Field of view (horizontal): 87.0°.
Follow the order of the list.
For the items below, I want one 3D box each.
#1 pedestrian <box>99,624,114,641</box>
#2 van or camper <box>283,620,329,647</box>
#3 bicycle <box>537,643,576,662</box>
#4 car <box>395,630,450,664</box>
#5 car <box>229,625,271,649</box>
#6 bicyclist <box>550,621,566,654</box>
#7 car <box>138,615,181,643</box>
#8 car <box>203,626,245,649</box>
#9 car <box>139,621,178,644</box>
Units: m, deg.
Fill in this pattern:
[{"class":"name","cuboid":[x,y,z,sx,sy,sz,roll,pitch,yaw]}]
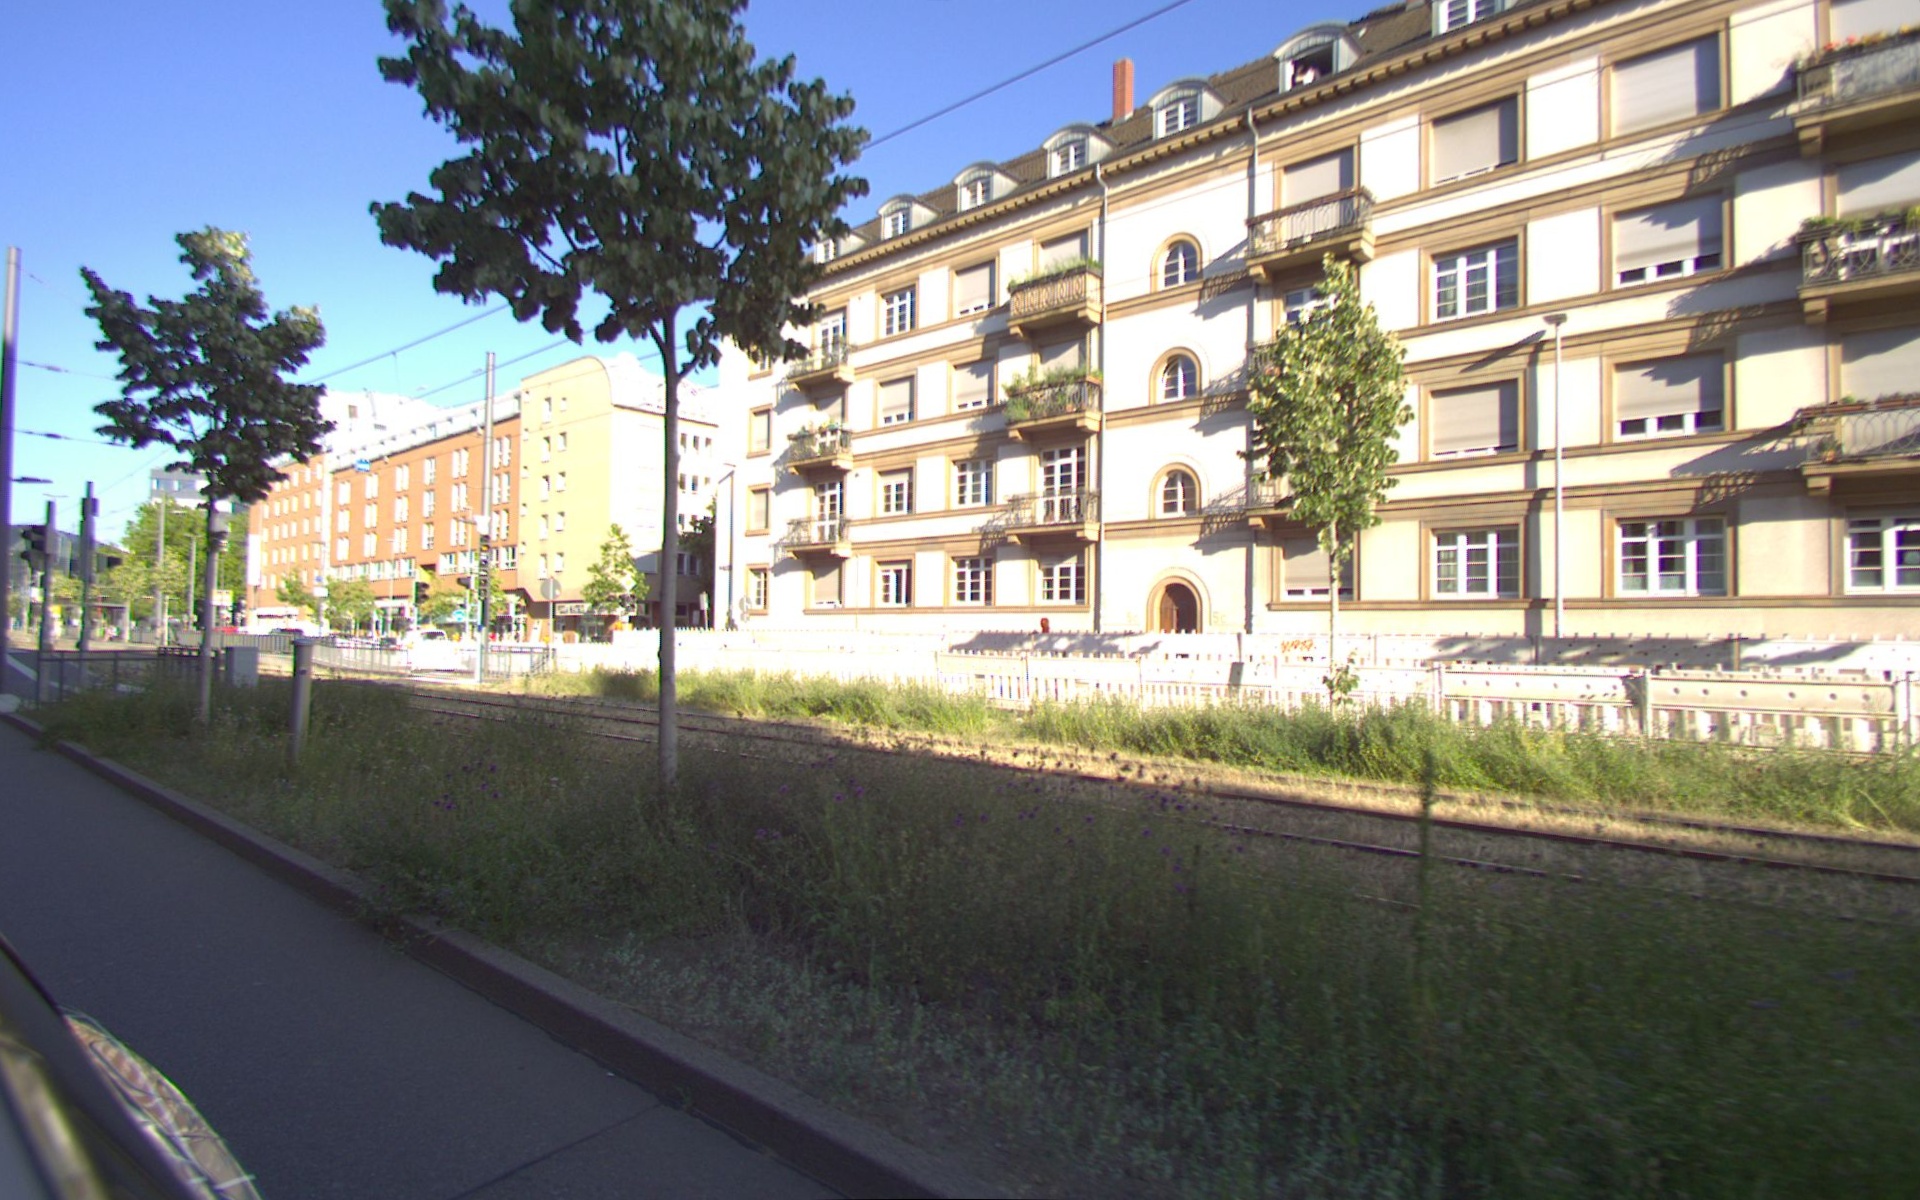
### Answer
[{"class":"pedestrian","cuboid":[-61.331,2.318,72.738,0.906,1.199,0.666,-1,-3,41]},{"class":"van or camper","cuboid":[-56.620,2.951,87.593,5.615,2.186,1.971,-4,-5,43]},{"class":"bicycle","cuboid":[-20.544,2.671,51.503,0.684,0.955,1.720,-1,-3,38]},{"class":"car","cuboid":[-33.303,2.930,62.667,1.969,2.029,4.151,3,-4,-43]},{"class":"car","cuboid":[-56.324,2.977,80.258,4.317,1.881,1.865,-3,-4,44]},{"class":"bicyclist","cuboid":[-20.493,1.910,51.584,0.665,1.693,0.481,-1,-3,37]},{"class":"car","cuboid":[-70.542,2.586,89.171,4.917,2.376,2.024,-1,-3,41]},{"class":"car","cuboid":[-62.048,3.213,85.327,4.313,1.881,1.866,-2,-4,41]},{"class":"car","cuboid":[-82.418,3.322,104.013,5.260,2.306,2.058,-1,-3,40]}]
